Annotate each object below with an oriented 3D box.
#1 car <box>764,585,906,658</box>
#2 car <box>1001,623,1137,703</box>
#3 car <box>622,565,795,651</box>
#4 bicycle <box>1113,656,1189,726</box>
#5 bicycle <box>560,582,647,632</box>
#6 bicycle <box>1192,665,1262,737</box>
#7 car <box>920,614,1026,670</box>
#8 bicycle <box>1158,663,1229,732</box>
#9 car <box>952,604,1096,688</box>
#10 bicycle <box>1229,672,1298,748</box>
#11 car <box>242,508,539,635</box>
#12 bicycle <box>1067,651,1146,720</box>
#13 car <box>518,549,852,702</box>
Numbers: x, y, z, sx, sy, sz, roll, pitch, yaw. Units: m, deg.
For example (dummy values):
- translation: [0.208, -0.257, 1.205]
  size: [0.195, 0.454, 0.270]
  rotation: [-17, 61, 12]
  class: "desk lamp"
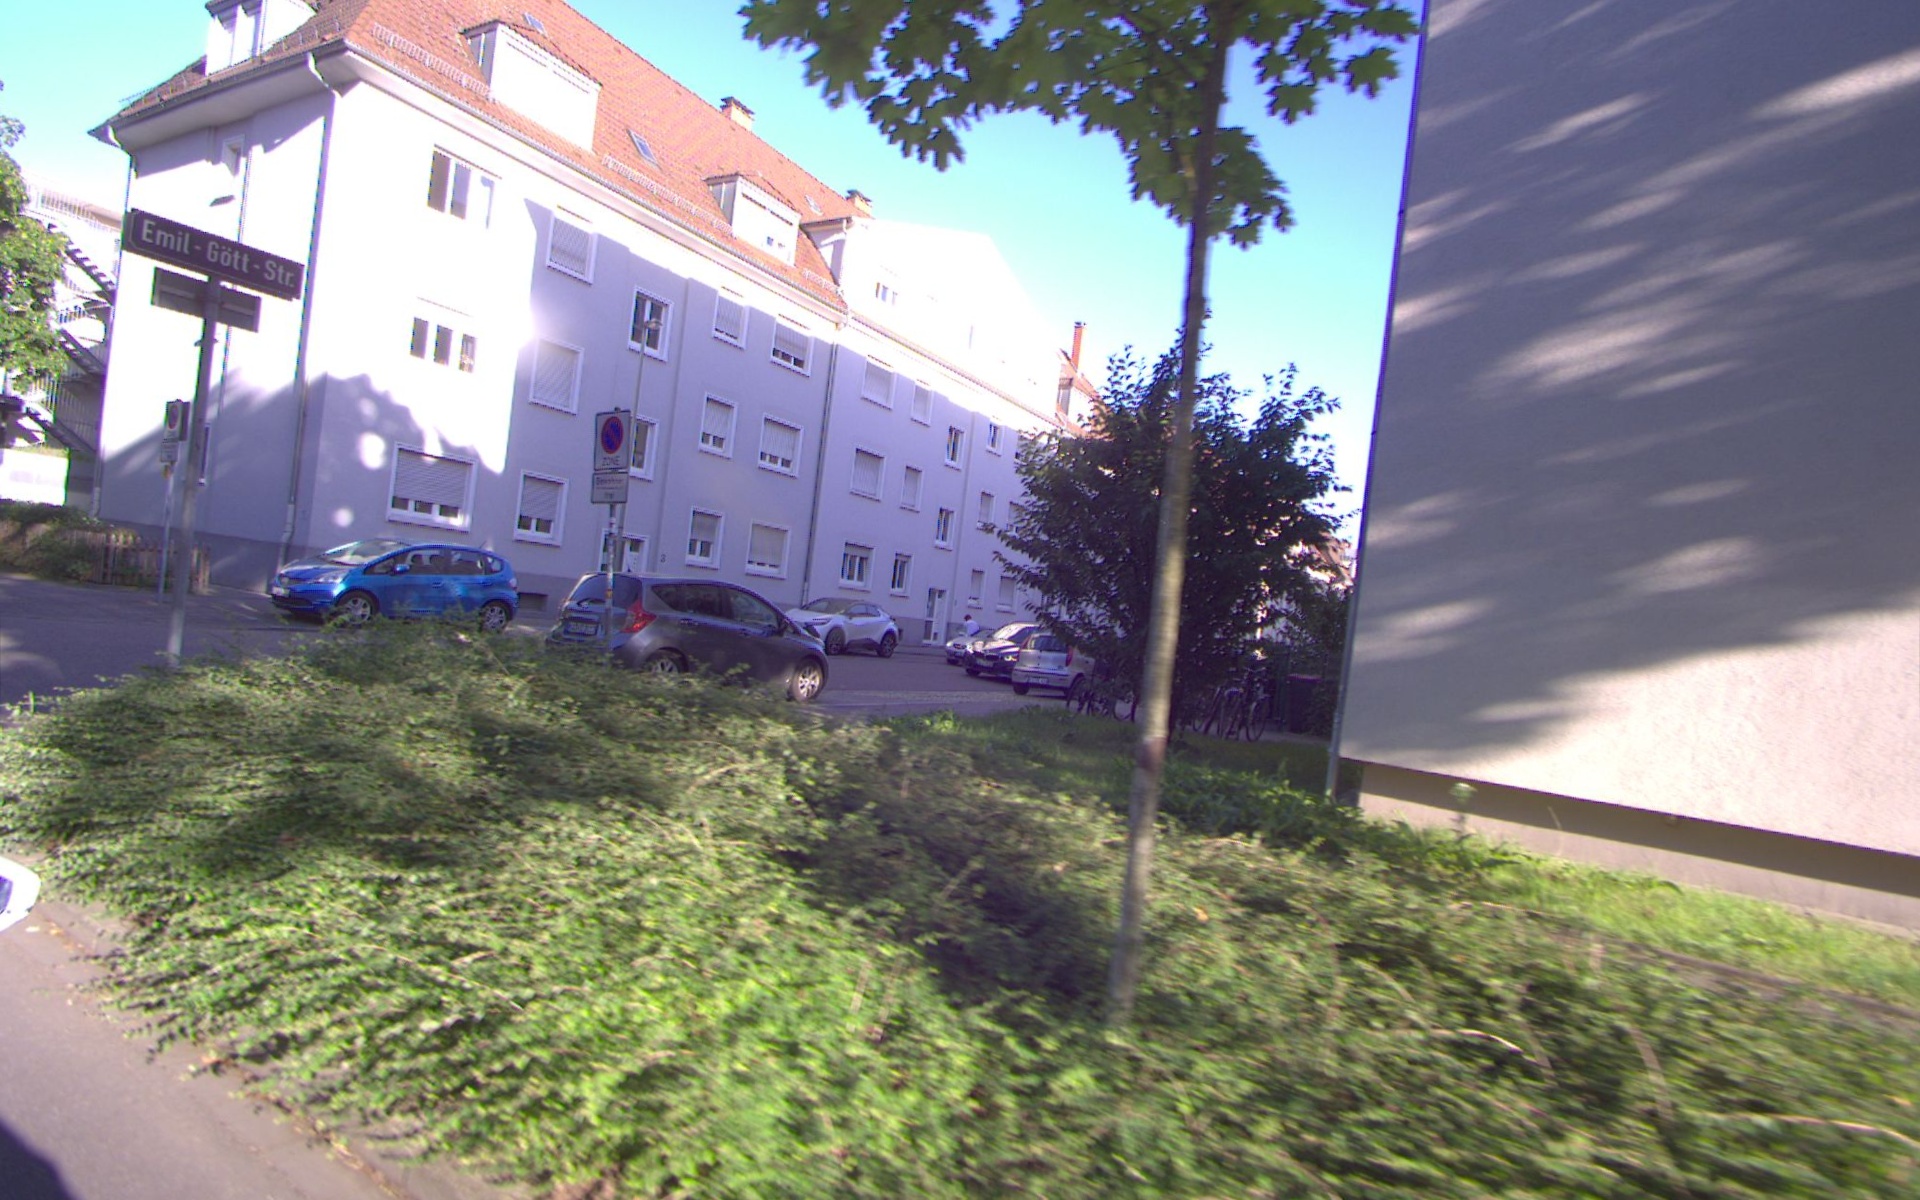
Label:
- translation: [-3.407, 0.651, 28.167]
  size: [1.705, 1.515, 4.023]
  rotation: [7, -2, 31]
  class: "car"
- translation: [2.631, 1.519, 23.626]
  size: [1.721, 1.511, 3.498]
  rotation: [8, -1, 31]
  class: "car"
- translation: [-5.845, 0.242, 23.796]
  size: [1.620, 1.515, 3.832]
  rotation: [7, -1, 31]
  class: "car"
- translation: [3.062, 1.444, 15.975]
  size: [0.536, 0.971, 1.975]
  rotation: [7, -1, 27]
  class: "bicycle"
- translation: [-8.282, 0.180, 23.464]
  size: [0.475, 0.936, 1.968]
  rotation: [8, -1, 29]
  class: "bicycle"
- translation: [4.130, 1.547, 15.468]
  size: [0.536, 0.971, 1.975]
  rotation: [7, -1, 27]
  class: "bicycle"
- translation: [0.472, 1.349, 31.682]
  size: [1.683, 1.367, 3.797]
  rotation: [7, -2, 27]
  class: "car"
- translation: [3.736, 1.540, 15.973]
  size: [0.536, 0.971, 1.975]
  rotation: [7, -1, 27]
  class: "bicycle"
- translation: [1.801, 1.279, 26.899]
  size: [1.741, 1.692, 4.272]
  rotation: [7, -3, 34]
  class: "car"
- translation: [4.505, 1.602, 14.847]
  size: [0.536, 0.971, 1.975]
  rotation: [7, -1, 27]
  class: "bicycle"
- translation: [-9.625, -0.408, 17.342]
  size: [1.778, 1.600, 3.996]
  rotation: [8, 0, 28]
  class: "car"
- translation: [2.338, 1.350, 15.853]
  size: [0.536, 0.971, 1.906]
  rotation: [7, -1, 27]
  class: "bicycle"
- translation: [-3.325, 0.434, 12.991]
  size: [1.697, 1.531, 4.050]
  rotation: [6, -2, 29]
  class: "car"
